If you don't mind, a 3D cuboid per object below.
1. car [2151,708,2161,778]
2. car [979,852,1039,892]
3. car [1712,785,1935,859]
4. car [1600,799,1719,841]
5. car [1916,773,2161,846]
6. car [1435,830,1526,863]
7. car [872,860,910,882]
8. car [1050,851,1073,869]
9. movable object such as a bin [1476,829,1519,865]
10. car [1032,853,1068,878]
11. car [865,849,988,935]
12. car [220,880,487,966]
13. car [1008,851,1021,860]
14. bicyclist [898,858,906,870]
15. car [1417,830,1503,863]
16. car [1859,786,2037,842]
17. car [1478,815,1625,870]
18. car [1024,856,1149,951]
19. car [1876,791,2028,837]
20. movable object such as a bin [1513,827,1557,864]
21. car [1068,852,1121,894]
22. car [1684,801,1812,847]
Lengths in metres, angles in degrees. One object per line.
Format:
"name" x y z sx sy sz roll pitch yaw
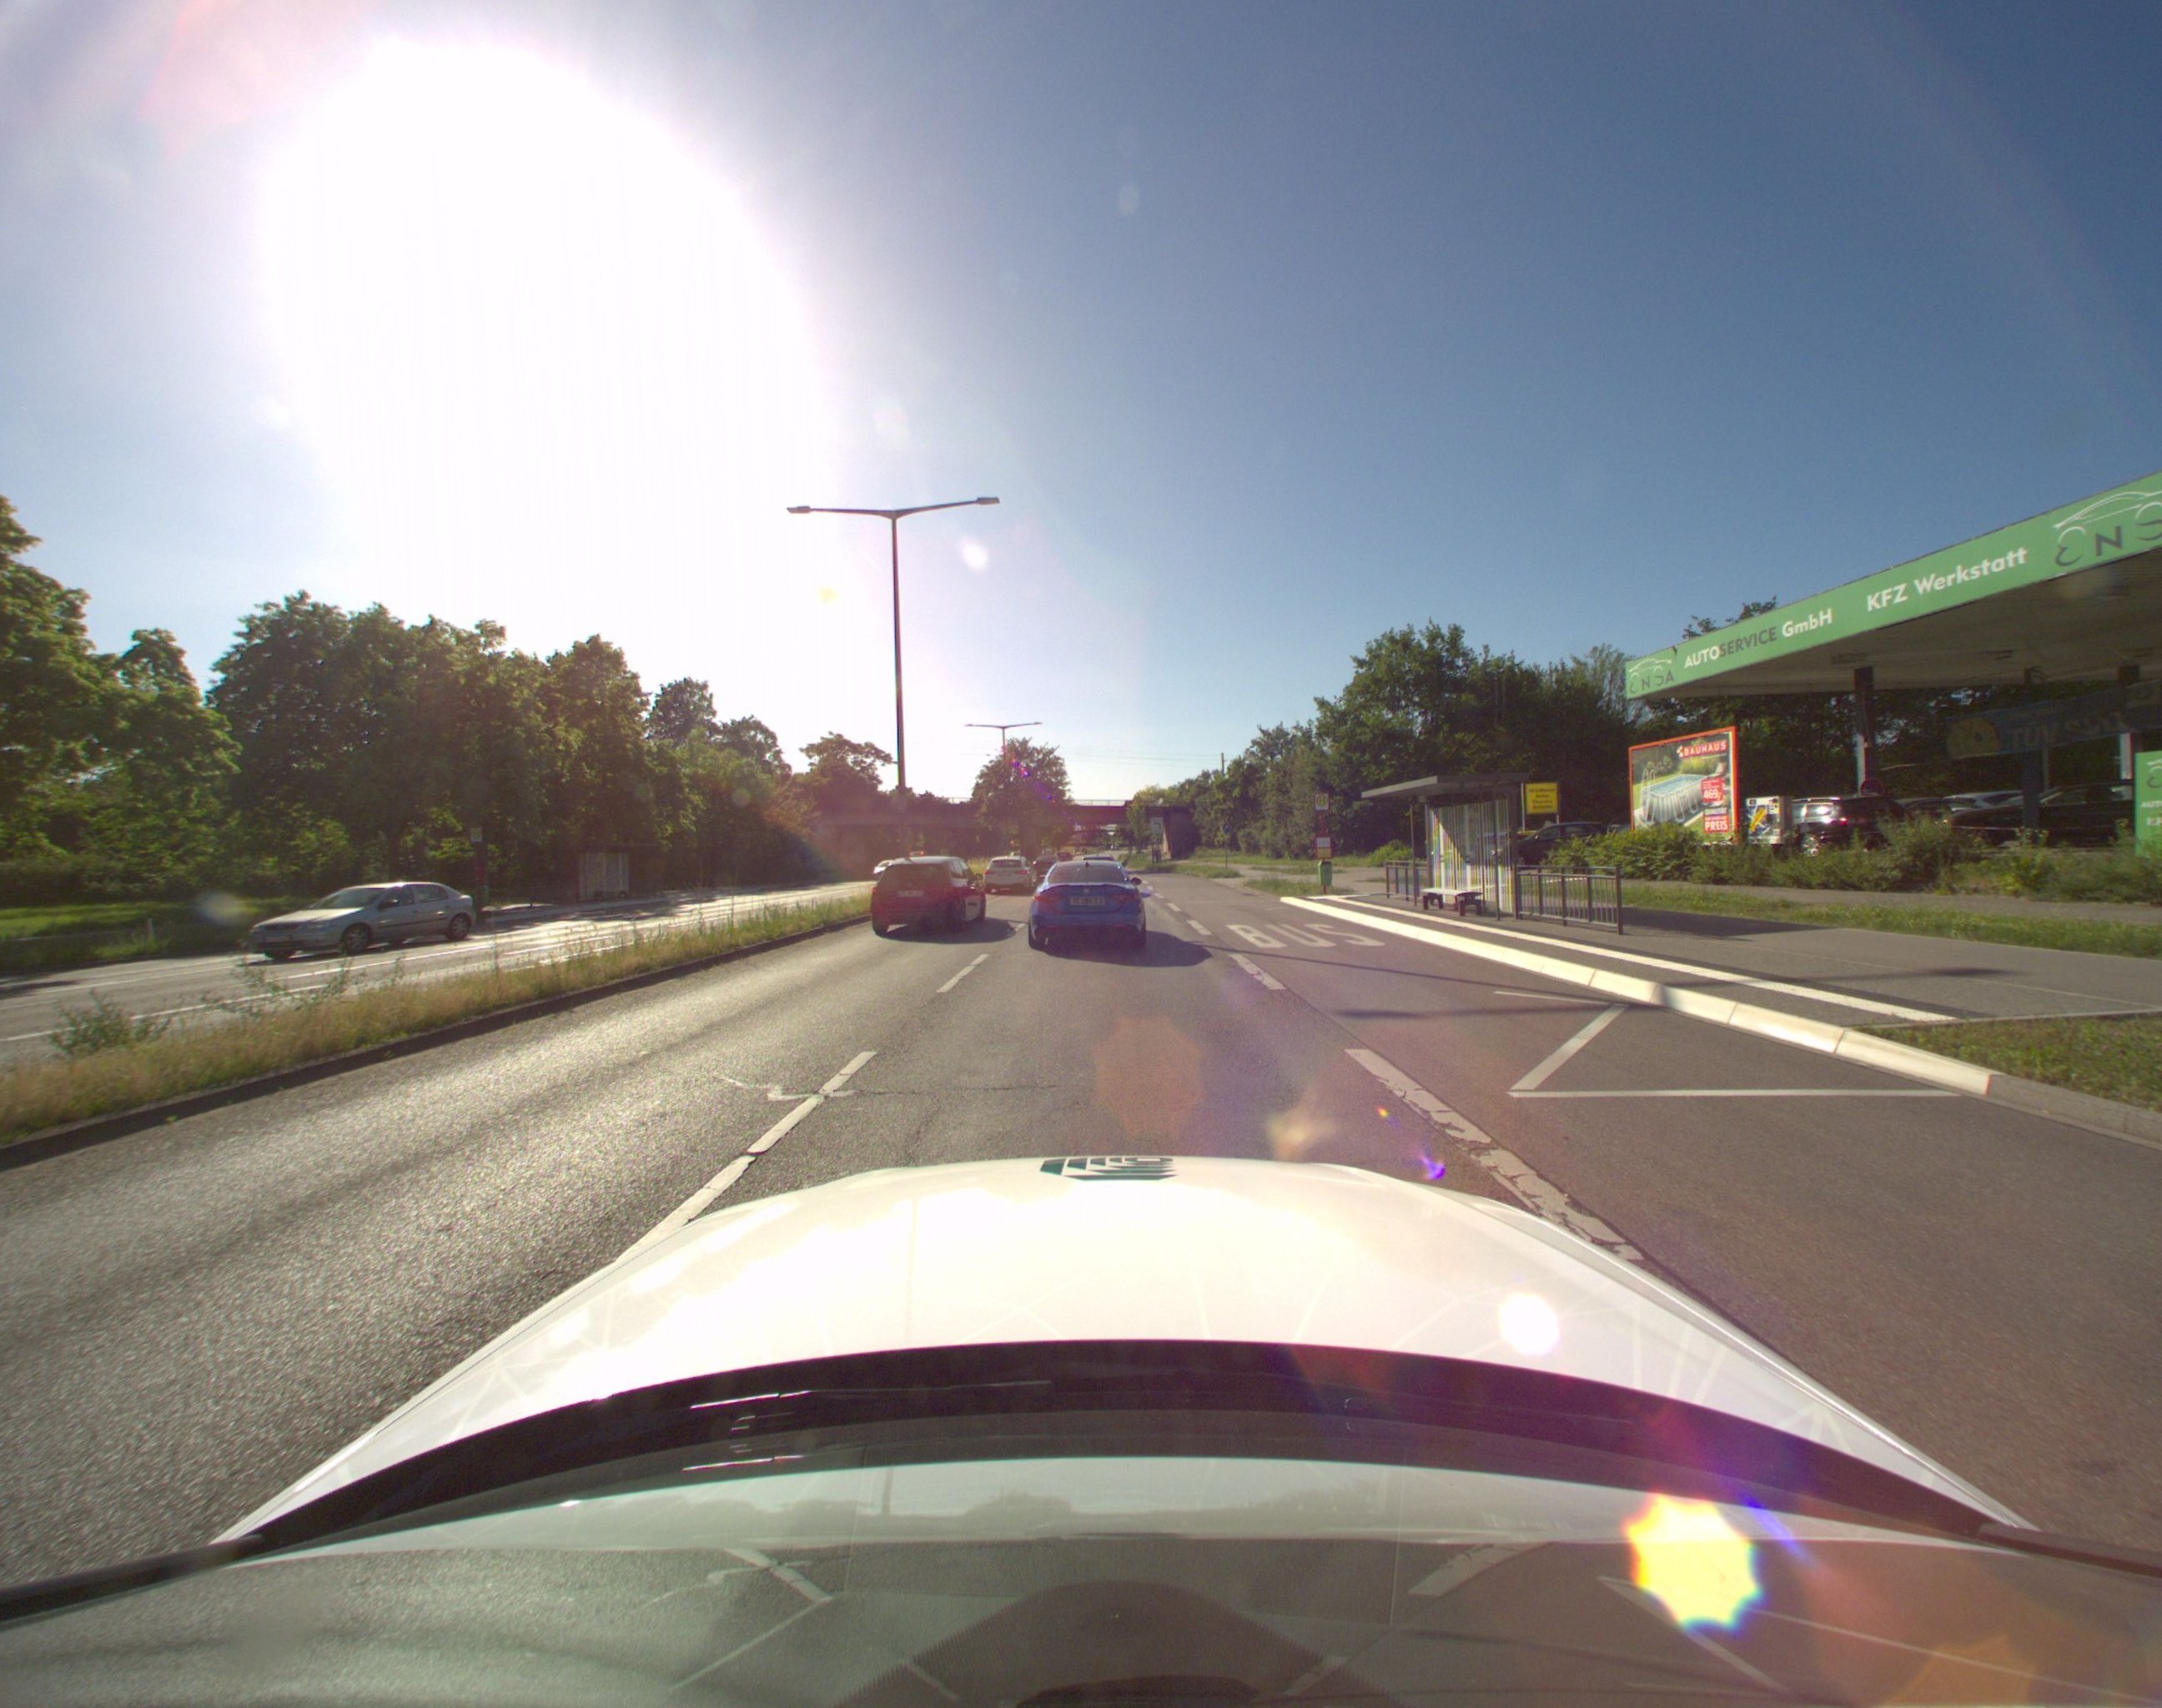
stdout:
"car" 28.162 -2.865 18.816 1.911 1.755 3.780 -3 0 3
"car" -2.801 0.678 32.777 1.876 1.454 4.528 -1 0 2
"car" 18.047 -0.712 20.127 1.737 1.572 4.251 -2 0 3
"car" 26.139 -1.519 36.906 4.021 1.531 1.735 -4 0 3
"car" 22.767 -0.967 19.251 2.008 1.486 3.957 0 0 -35
"car" 17.852 -0.329 36.500 3.270 1.417 1.729 -1 0 3
"car" -14.105 1.209 60.689 1.635 1.451 4.113 -4 0 1
"car" -1.691 0.543 71.569 1.773 1.454 4.183 -2 0 1
"movable object such as a bin" 16.793 -0.268 32.819 0.994 1.428 1.245 -2 0 -41
"car" -1.871 0.677 50.343 1.876 1.454 4.528 -1 0 2
"car" -3.165 0.721 17.526 1.701 1.598 4.225 -1 0 2
"car" -15.419 1.377 17.641 1.911 1.416 4.137 -3 0 2
"car" -11.564 0.302 141.903 1.810 1.442 4.091 -3 0 1
"bicyclist" -21.369 1.197 97.088 0.677 1.402 1.027 -1 0 1
"car" 17.933 -0.345 38.612 3.270 1.486 1.773 -1 0 3
"car" 27.759 -1.248 26.154 3.977 1.516 1.734 -3 -1 -3
"car" 17.400 -0.405 30.260 4.502 1.640 1.813 -5 -1 31
"car" 0.138 0.751 14.414 1.876 1.406 4.225 -1 0 1
"car" 31.282 -1.379 29.423 1.602 1.464 3.706 -1 0 2
"movable object such as a bin" 17.959 -0.338 32.195 0.994 1.428 1.210 -2 0 -41
"car" 0.561 0.685 31.353 1.876 1.454 4.528 -1 0 2
"car" 25.889 -1.110 31.822 1.707 1.607 4.137 -1 0 2
